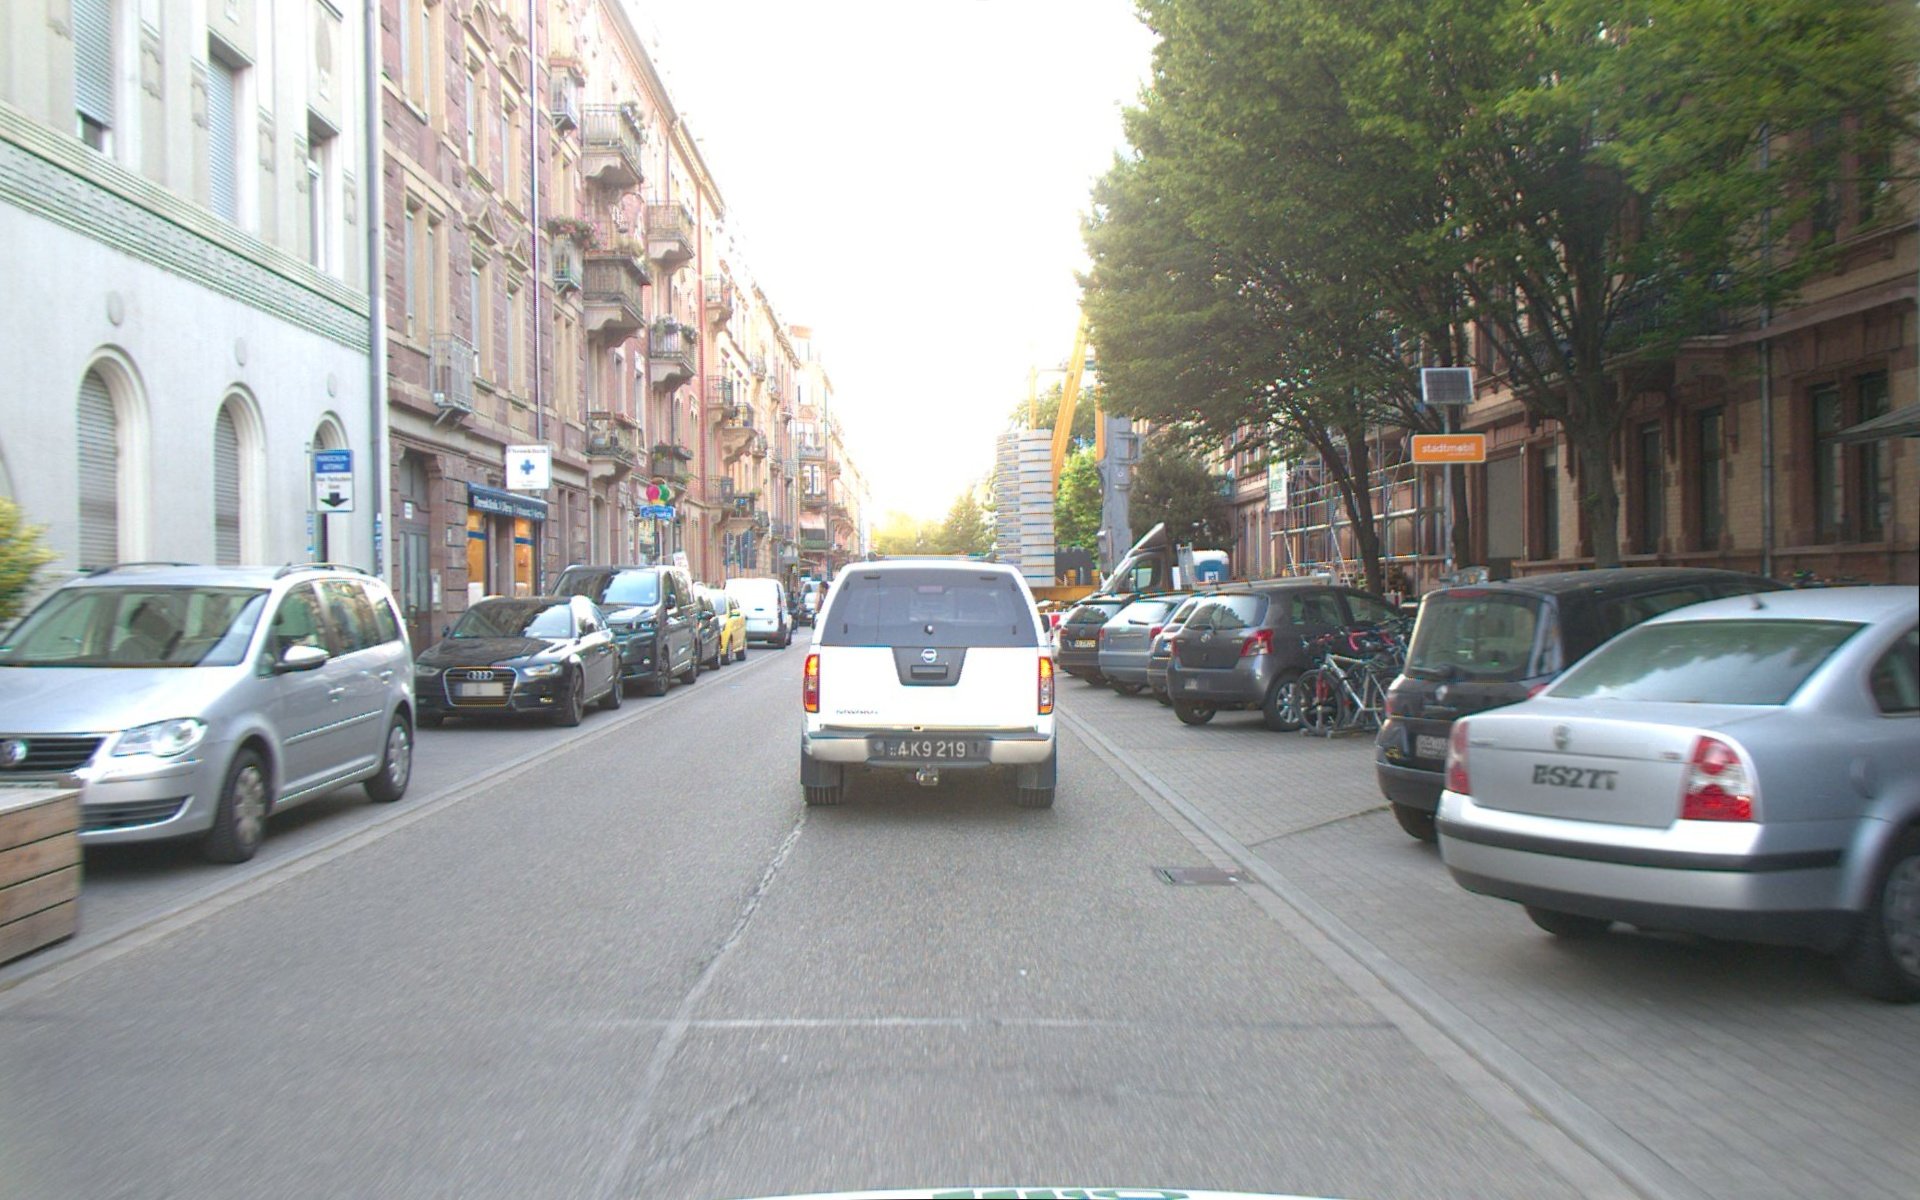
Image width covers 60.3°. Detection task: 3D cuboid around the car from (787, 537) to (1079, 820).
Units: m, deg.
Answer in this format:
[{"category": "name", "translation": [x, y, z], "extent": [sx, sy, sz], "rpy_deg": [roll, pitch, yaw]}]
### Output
[{"category": "car", "translation": [-0.174, 0.500, 13.161], "extent": [1.894, 1.826, 4.622], "rpy_deg": [1, 0, 0]}]

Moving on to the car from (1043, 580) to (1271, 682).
[{"category": "car", "translation": [3.301, 0.462, 27.307], "extent": [3.859, 1.557, 1.613], "rpy_deg": [0, 0, -41]}]

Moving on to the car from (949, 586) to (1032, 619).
[{"category": "car", "translation": [1.551, 0.112, 83.200], "extent": [4.108, 1.650, 1.820], "rpy_deg": [0, 0, 1]}]

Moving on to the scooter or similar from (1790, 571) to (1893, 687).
[{"category": "scooter or similar", "translation": [10.091, 0.310, 18.981], "extent": [0.403, 1.239, 1.777], "rpy_deg": [-5, 0, 10]}]

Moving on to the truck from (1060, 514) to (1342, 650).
[{"category": "truck", "translation": [5.495, -0.383, 38.377], "extent": [6.191, 3.029, 2.263], "rpy_deg": [0, -3, 0]}]

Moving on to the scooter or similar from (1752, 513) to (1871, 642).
[{"category": "scooter or similar", "translation": [8.988, -0.229, 17.521], "extent": [0.457, 1.238, 1.777], "rpy_deg": [-8, -1, 10]}]

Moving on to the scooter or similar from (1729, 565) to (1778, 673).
[{"category": "scooter or similar", "translation": [9.682, 0.207, 20.211], "extent": [0.361, 1.239, 1.704], "rpy_deg": [-4, 0, 22]}]

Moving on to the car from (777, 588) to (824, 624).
[{"category": "car", "translation": [-7.055, 0.228, 73.397], "extent": [1.755, 1.557, 3.999], "rpy_deg": [0, 0, -1]}]

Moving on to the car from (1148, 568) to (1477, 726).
[{"category": "car", "translation": [3.992, 0.460, 18.632], "extent": [3.365, 1.500, 1.755], "rpy_deg": [-3, 2, -33]}]

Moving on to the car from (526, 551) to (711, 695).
[{"category": "car", "translation": [-5.046, 0.297, 25.152], "extent": [1.866, 1.959, 4.946], "rpy_deg": [0, 0, -1]}]

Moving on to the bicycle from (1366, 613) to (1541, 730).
[{"category": "bicycle", "translation": [5.030, 0.714, 16.970], "extent": [0.552, 1.127, 1.839], "rpy_deg": [0, -1, -30]}]

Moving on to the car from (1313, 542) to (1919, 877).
[{"category": "car", "translation": [4.335, 0.532, 10.130], "extent": [3.931, 1.665, 1.747], "rpy_deg": [-2, 1, -22]}]

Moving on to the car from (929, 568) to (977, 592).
[{"category": "car", "translation": [-0.651, -1.904, 157.327], "extent": [4.493, 2.215, 1.820], "rpy_deg": [0, 0, 1]}]

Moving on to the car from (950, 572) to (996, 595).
[{"category": "car", "translation": [1.278, -1.644, 160.920], "extent": [4.493, 2.215, 1.820], "rpy_deg": [0, 0, 1]}]

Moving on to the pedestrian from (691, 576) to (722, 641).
[{"category": "pedestrian", "translation": [-7.494, 0.248, 48.856], "extent": [0.603, 1.902, 0.740], "rpy_deg": [0, 0, 21]}]

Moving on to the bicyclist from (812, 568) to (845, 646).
[{"category": "bicyclist", "translation": [-3.227, 0.162, 40.655], "extent": [0.784, 1.882, 0.943], "rpy_deg": [0, 0, -4]}]

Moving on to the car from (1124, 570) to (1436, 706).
[{"category": "car", "translation": [4.255, 0.464, 21.952], "extent": [3.780, 1.557, 1.747], "rpy_deg": [-3, 0, -27]}]

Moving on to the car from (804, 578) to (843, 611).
[{"category": "car", "translation": [-6.599, -0.272, 80.292], "extent": [1.675, 1.557, 3.999], "rpy_deg": [0, 0, -2]}]

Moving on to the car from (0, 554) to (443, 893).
[{"category": "car", "translation": [-4.768, 0.593, 10.140], "extent": [1.953, 1.619, 4.312], "rpy_deg": [-1, 0, -2]}]

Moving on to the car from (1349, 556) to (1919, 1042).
[{"category": "car", "translation": [3.911, 0.602, 7.297], "extent": [4.332, 1.561, 1.787], "rpy_deg": [-2, 0, -33]}]

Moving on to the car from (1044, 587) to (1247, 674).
[{"category": "car", "translation": [3.402, 0.510, 30.166], "extent": [3.515, 1.490, 1.593], "rpy_deg": [0, 0, -33]}]

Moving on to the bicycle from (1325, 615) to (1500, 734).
[{"category": "bicycle", "translation": [4.523, 0.732, 16.671], "extent": [0.552, 1.127, 1.839], "rpy_deg": [0, -1, -30]}]

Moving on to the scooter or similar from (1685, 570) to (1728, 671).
[{"category": "scooter or similar", "translation": [9.643, 0.240, 21.381], "extent": [0.361, 1.239, 1.620], "rpy_deg": [-4, 0, 22]}]

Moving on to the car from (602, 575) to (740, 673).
[{"category": "car", "translation": [-5.355, 0.406, 31.149], "extent": [1.866, 1.692, 4.067], "rpy_deg": [-1, 0, 0]}]

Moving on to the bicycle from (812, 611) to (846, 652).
[{"category": "bicycle", "translation": [-3.211, 0.759, 40.657], "extent": [0.784, 0.963, 2.003], "rpy_deg": [0, 0, -4]}]

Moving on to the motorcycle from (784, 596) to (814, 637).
[{"category": "motorcycle", "translation": [-5.802, 0.592, 59.725], "extent": [0.819, 1.440, 2.548], "rpy_deg": [0, 0, 0]}]

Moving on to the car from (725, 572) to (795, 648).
[{"category": "car", "translation": [-5.361, 0.244, 44.624], "extent": [1.528, 1.955, 3.855], "rpy_deg": [1, 0, -2]}]

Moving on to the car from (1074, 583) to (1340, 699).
[{"category": "car", "translation": [3.708, 0.556, 24.625], "extent": [3.796, 1.462, 1.740], "rpy_deg": [-3, 1, -37]}]

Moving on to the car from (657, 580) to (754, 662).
[{"category": "car", "translation": [-5.382, 0.407, 35.379], "extent": [1.468, 1.621, 3.856], "rpy_deg": [-1, 0, 0]}]

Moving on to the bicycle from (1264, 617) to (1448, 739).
[{"category": "bicycle", "translation": [3.889, 0.746, 16.391], "extent": [0.685, 1.127, 1.839], "rpy_deg": [0, -1, -30]}]

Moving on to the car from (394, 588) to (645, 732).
[{"category": "car", "translation": [-5.044, 0.616, 19.577], "extent": [1.873, 1.497, 4.532], "rpy_deg": [0, 0, -2]}]

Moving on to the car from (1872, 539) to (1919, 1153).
[{"category": "car", "translation": [4.289, 0.582, 4.511], "extent": [3.556, 1.561, 1.547], "rpy_deg": [-2, 0, -30]}]

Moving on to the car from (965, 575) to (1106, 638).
[{"category": "car", "translation": [2.258, 0.186, 49.252], "extent": [4.107, 1.811, 1.820], "rpy_deg": [0, 0, 4]}]

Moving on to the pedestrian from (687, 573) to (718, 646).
[{"category": "pedestrian", "translation": [-6.752, 0.233, 43.418], "extent": [0.723, 1.902, 0.618], "rpy_deg": [0, 0, -3]}]
